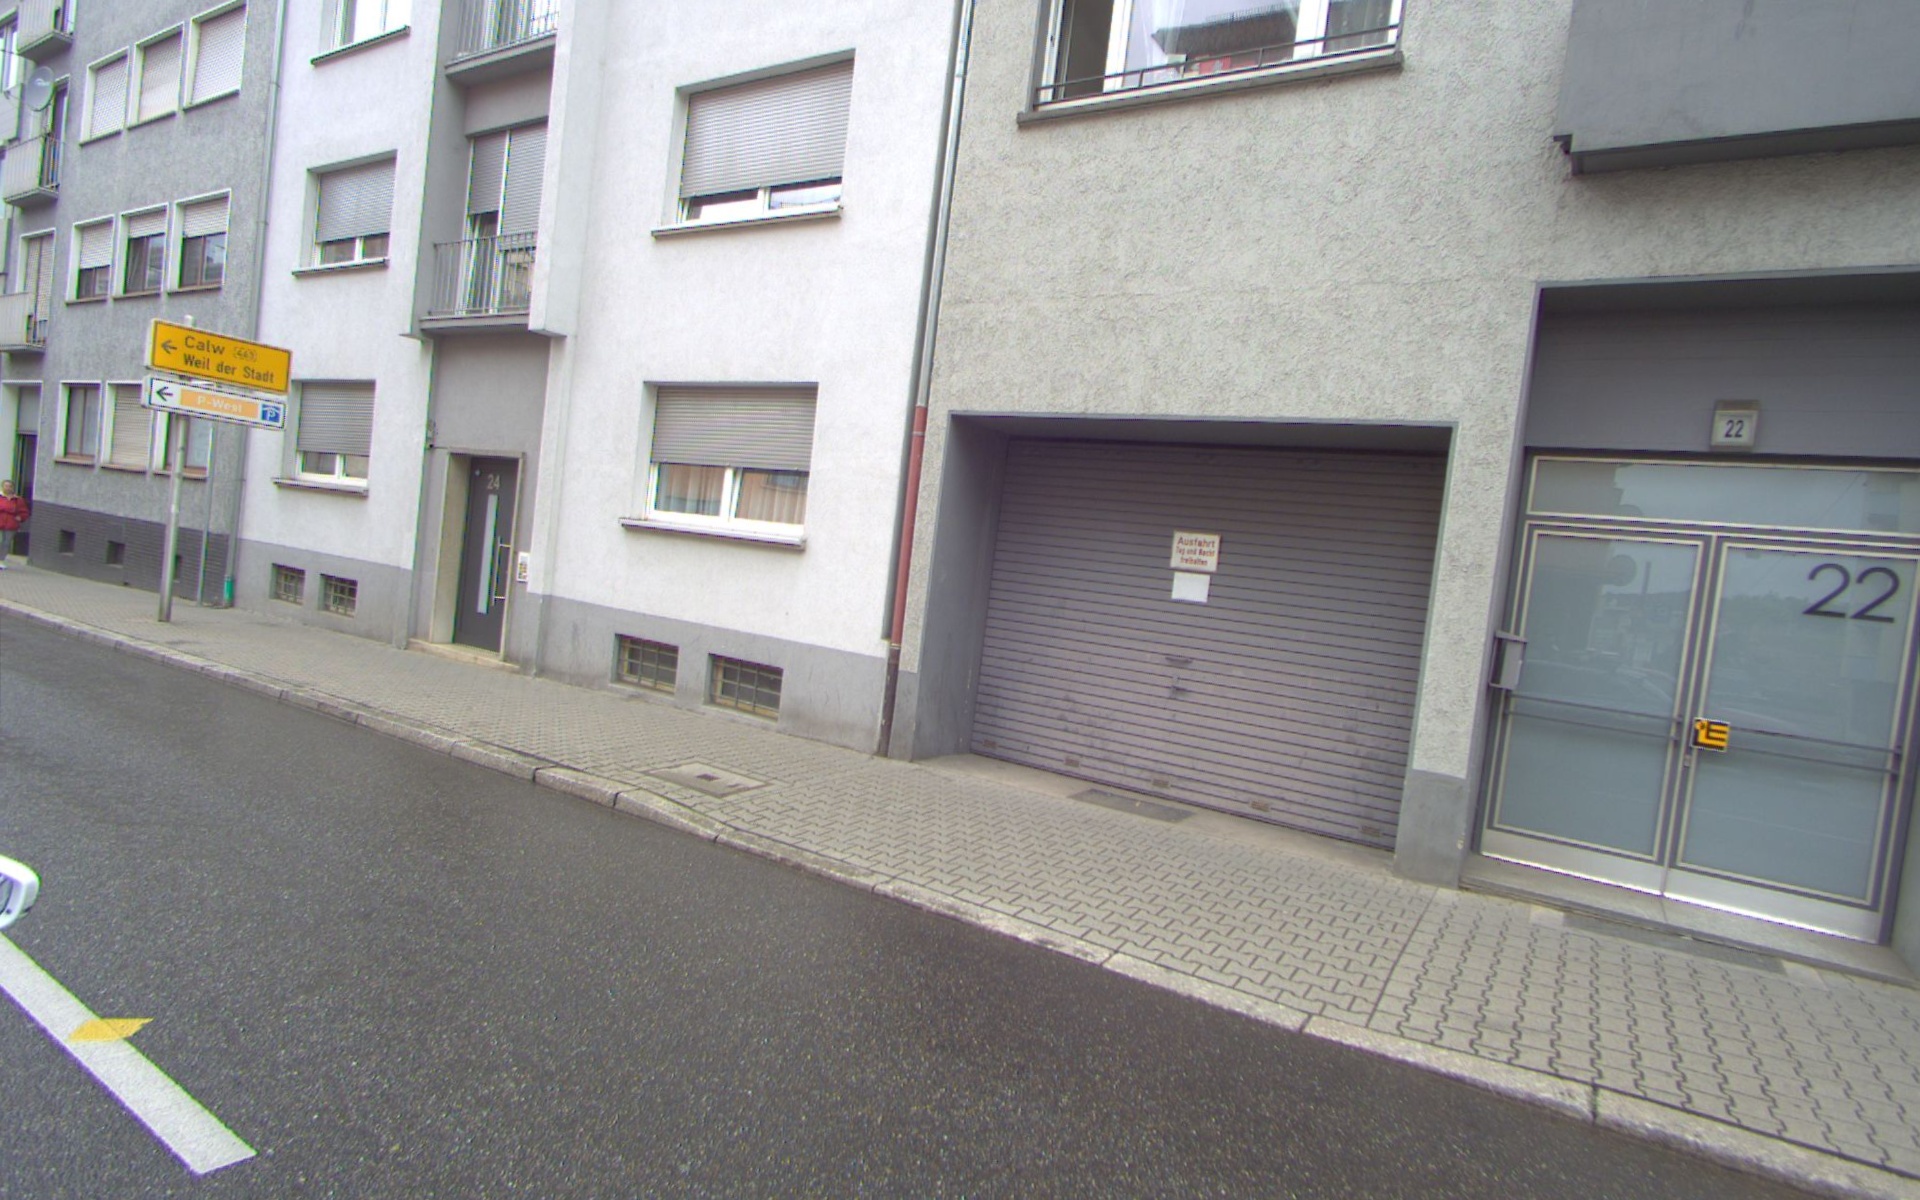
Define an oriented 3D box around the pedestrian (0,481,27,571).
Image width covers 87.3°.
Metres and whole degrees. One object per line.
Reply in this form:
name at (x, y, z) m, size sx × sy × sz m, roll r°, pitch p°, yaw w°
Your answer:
pedestrian at (-17.415, -1.349, 18.252) m, size 0.517 × 1.600 × 0.560 m, roll 7°, pitch 4°, yaw 31°
